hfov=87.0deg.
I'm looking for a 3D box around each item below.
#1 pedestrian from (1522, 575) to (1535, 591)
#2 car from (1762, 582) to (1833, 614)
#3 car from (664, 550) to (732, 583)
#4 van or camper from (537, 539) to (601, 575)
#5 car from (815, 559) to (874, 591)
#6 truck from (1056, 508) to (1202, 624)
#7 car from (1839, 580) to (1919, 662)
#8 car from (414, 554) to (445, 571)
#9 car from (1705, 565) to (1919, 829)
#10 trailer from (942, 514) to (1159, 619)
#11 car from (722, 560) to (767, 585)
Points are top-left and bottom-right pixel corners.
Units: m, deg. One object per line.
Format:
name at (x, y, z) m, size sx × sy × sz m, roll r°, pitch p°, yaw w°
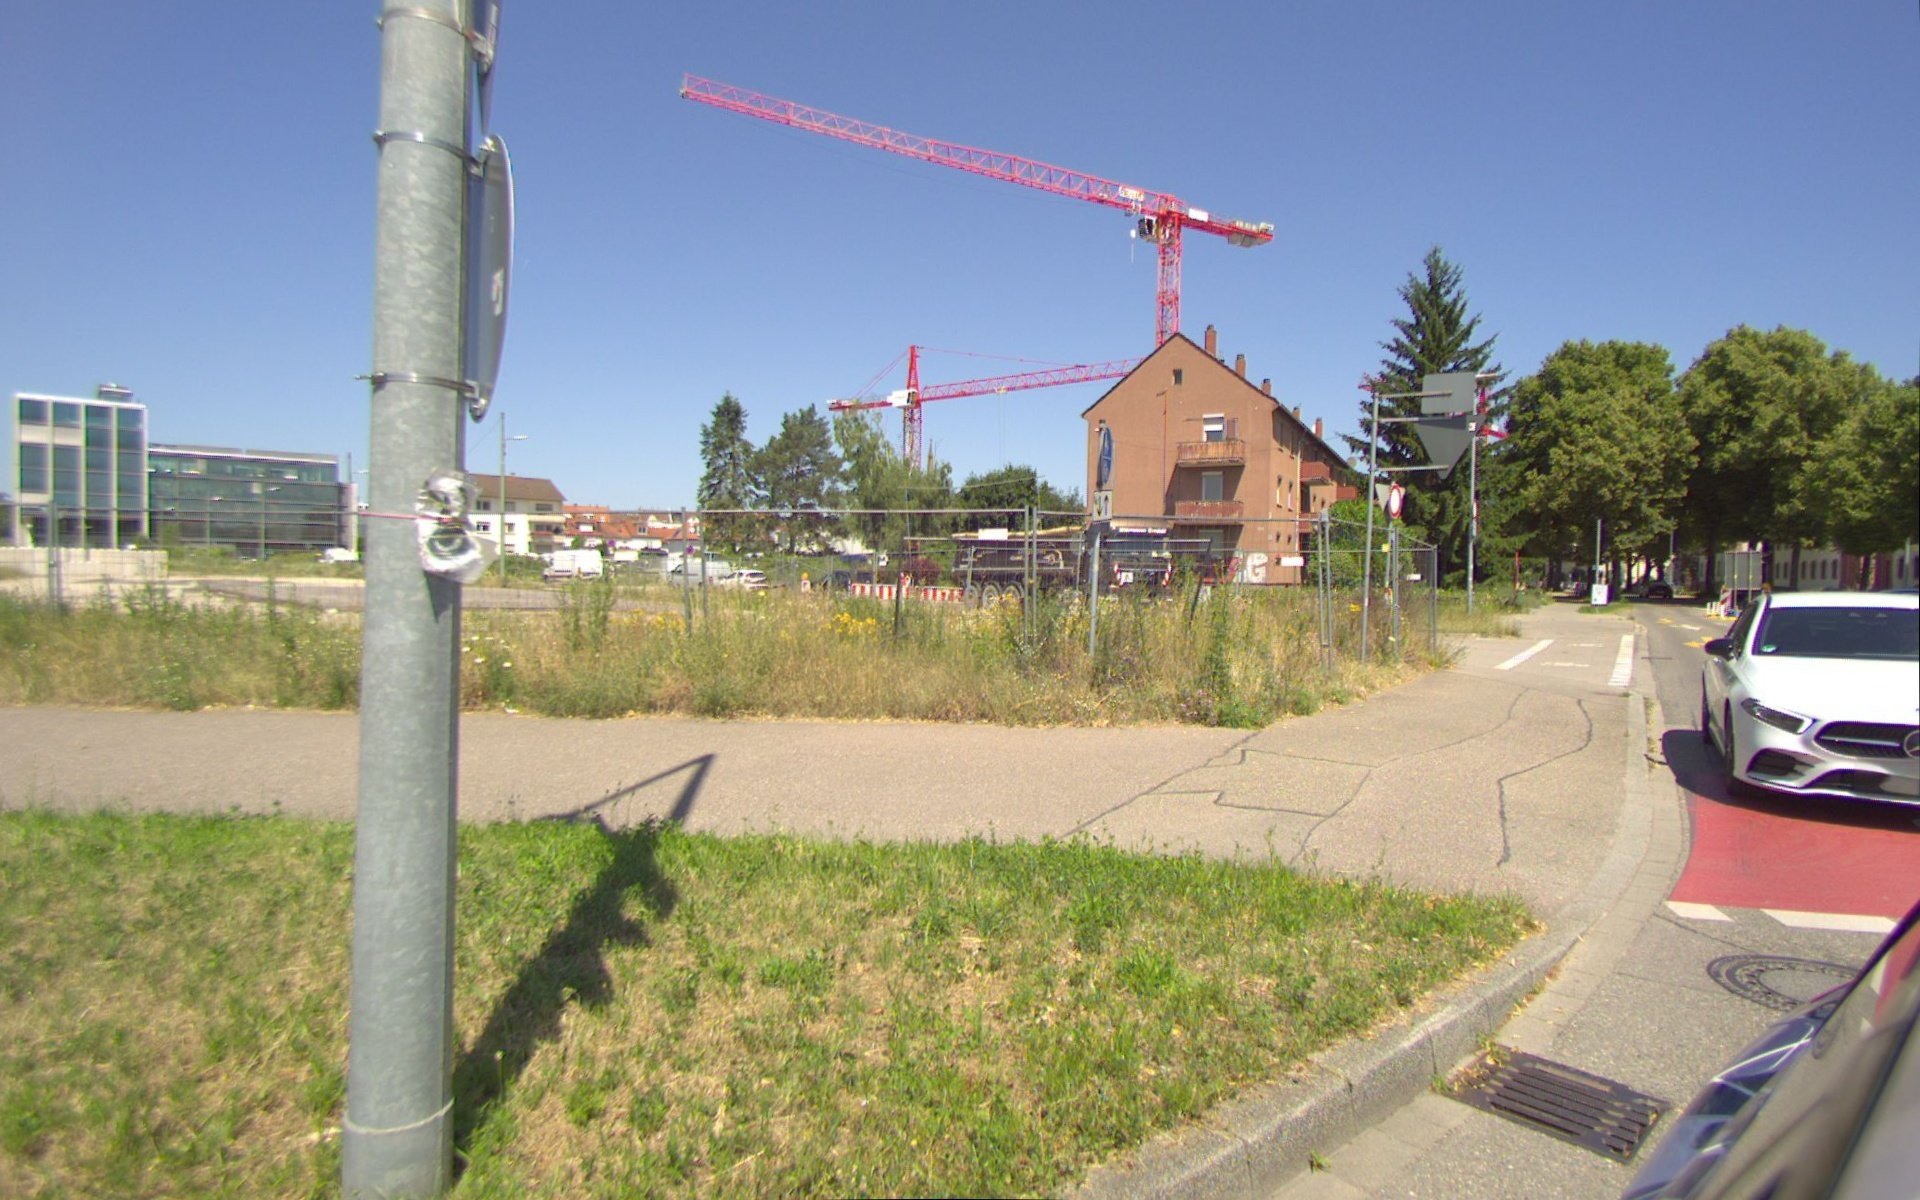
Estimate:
pedestrian at (55.433, -1.676, 98.612) m, size 1.018 × 1.536 × 0.674 m, roll 2°, pitch 2°, yaw 35°
car at (39.141, -0.124, 47.388) m, size 1.627 × 1.399 × 3.856 m, roll 2°, pitch 2°, yaw 25°
car at (-16.588, -2.121, 63.998) m, size 4.661 × 2.038 × 1.759 m, roll 2°, pitch 2°, yaw 40°
van or camper at (-29.759, -3.252, 76.921) m, size 1.898 × 2.634 × 6.985 m, roll 0°, pitch 2°, yaw -44°
car at (-6.143, -1.353, 53.492) m, size 1.347 × 1.633 × 3.412 m, roll 0°, pitch 2°, yaw -42°
truck at (5.550, -1.122, 34.171) m, size 3.098 × 3.576 × 4.976 m, roll 1°, pitch 2°, yaw -13°
car at (18.407, 0.392, 18.113) m, size 1.771 × 1.469 × 4.609 m, roll 0°, pitch 1°, yaw 8°
car at (-52.071, -3.669, 99.341) m, size 3.611 × 1.606 × 1.654 m, roll 1°, pitch 2°, yaw 44°
car at (6.874, 0.557, 7.658) m, size 1.769 × 1.564 × 3.915 m, roll 2°, pitch 2°, yaw 34°
trailer at (3.200, -1.317, 39.159) m, size 3.106 × 3.576 × 8.990 m, roll 0°, pitch 2°, yaw -37°
car at (-12.840, -1.665, 60.356) m, size 1.395 × 1.423 × 2.785 m, roll -2°, pitch 3°, yaw -43°
